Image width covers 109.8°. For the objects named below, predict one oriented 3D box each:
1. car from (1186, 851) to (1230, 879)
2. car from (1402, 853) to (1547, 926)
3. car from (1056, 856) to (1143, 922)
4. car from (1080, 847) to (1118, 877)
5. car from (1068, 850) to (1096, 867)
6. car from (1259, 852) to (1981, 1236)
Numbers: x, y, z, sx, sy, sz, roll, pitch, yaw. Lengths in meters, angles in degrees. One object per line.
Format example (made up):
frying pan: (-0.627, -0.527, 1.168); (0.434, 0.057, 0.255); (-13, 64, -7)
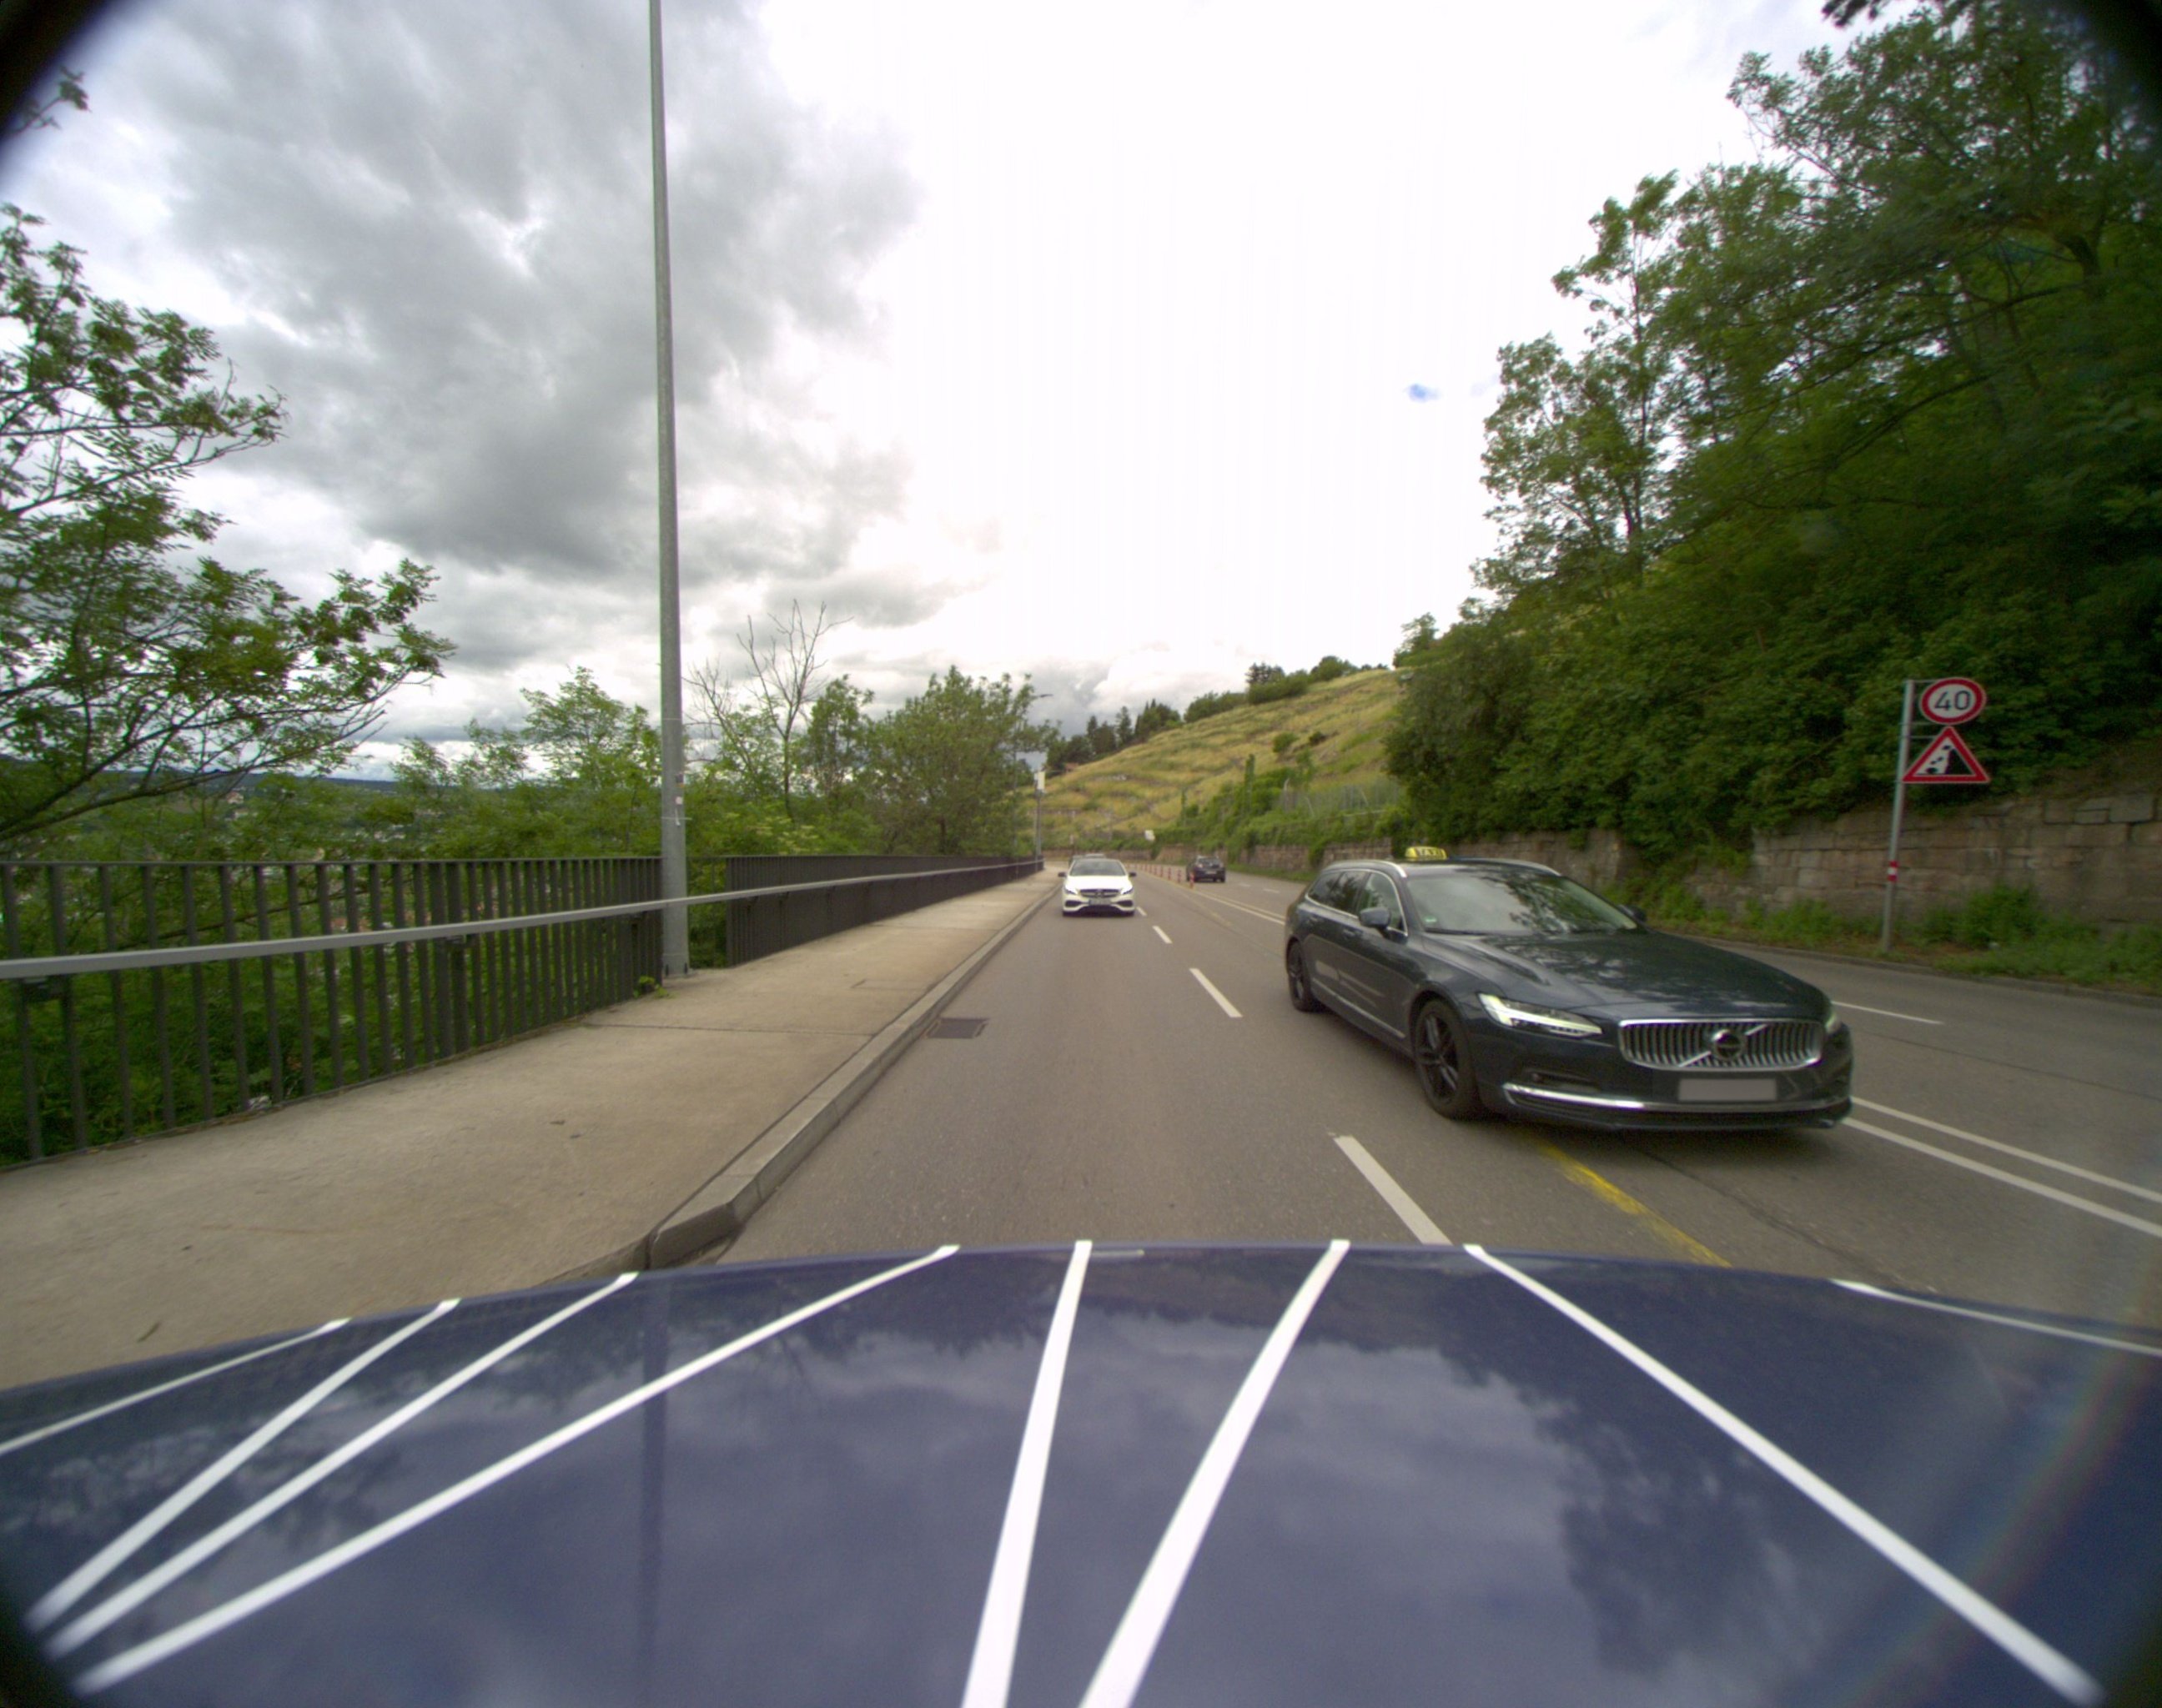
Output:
car: (7.000, 0.585, 42.340); (1.861, 1.437, 4.296); (-1, 1, 2)
car: (8.942, 0.738, 17.577); (1.587, 1.453, 3.523); (-2, 1, 2)
car: (0.467, 0.816, 19.114); (1.903, 1.418, 4.266); (-2, -1, 1)
car: (1.022, 0.433, 43.265); (1.998, 1.580, 4.000); (-2, 1, 1)
car: (0.114, 0.480, 82.197); (2.001, 1.756, 3.994); (-1, 0, -16)
car: (2.859, 0.801, 5.716); (1.939, 1.567, 5.027); (-2, 0, 1)
